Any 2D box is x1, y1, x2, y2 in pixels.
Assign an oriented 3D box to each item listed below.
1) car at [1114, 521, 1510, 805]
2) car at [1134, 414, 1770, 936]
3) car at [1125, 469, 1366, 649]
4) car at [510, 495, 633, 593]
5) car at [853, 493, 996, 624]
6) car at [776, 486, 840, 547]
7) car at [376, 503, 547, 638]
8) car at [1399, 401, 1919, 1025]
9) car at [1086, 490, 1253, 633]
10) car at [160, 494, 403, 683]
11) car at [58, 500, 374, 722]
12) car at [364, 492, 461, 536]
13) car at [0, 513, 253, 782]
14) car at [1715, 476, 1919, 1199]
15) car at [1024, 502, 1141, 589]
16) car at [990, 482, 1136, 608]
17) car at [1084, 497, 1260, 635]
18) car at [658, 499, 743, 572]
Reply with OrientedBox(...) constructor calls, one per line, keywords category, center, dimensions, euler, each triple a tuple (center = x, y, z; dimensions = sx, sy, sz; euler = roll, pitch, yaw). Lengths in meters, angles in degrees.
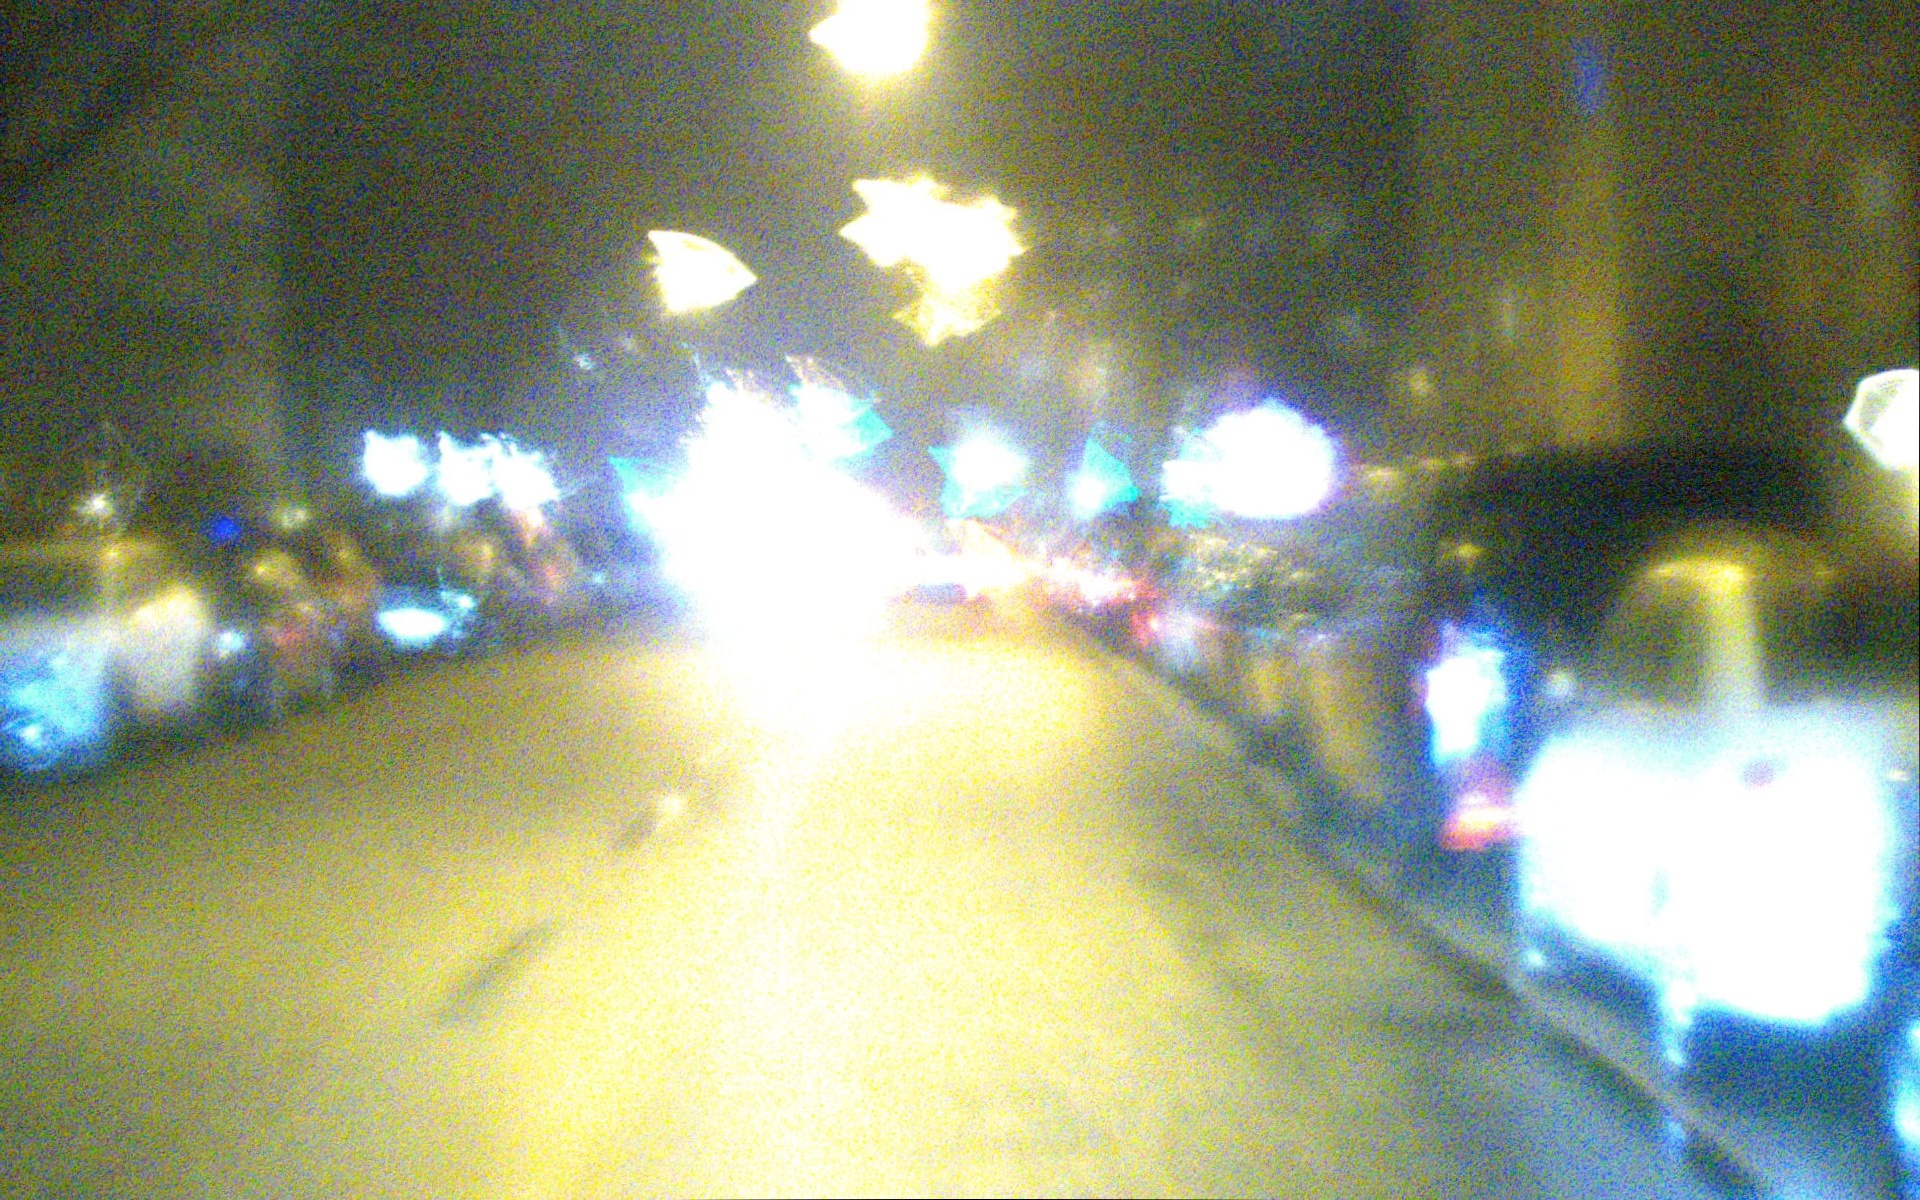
OrientedBox(category="car", center=(2.106, 0.310, 21.716), dimensions=(1.795, 1.486, 4.130), euler=(-3, 2, -3))
OrientedBox(category="car", center=(2.077, 0.195, 16.362), dimensions=(1.795, 1.943, 5.855), euler=(-3, 2, -3))
OrientedBox(category="car", center=(2.595, -0.429, 32.127), dimensions=(1.674, 1.482, 4.280), euler=(-3, 2, -2))
OrientedBox(category="car", center=(-6.372, -0.950, 56.767), dimensions=(1.598, 1.426, 4.005), euler=(-5, 2, -2))
OrientedBox(category="car", center=(-0.569, -0.719, 56.310), dimensions=(2.168, 1.965, 4.302), euler=(-3, 2, 0))
OrientedBox(category="car", center=(-5.520, -3.040, 124.358), dimensions=(2.034, 1.946, 5.201), euler=(-4, 3, -4))
OrientedBox(category="car", center=(-6.079, -0.394, 42.203), dimensions=(1.431, 1.455, 3.374), euler=(-5, 2, 1))
OrientedBox(category="car", center=(2.649, 0.188, 10.662), dimensions=(1.795, 1.542, 3.952), euler=(-3, 2, -3))
OrientedBox(category="car", center=(2.518, -0.520, 42.360), dimensions=(1.754, 1.542, 4.978), euler=(-3, 2, 1))
OrientedBox(category="car", center=(-6.581, -0.169, 33.746), dimensions=(1.746, 1.592, 4.392), euler=(-5, 2, -5))
OrientedBox(category="car", center=(-6.016, 0.020, 28.261), dimensions=(1.665, 1.534, 4.392), euler=(-5, 2, -2))
OrientedBox(category="car", center=(-19.493, -3.082, 122.550), dimensions=(1.715, 1.426, 3.916), euler=(-1, 2, 19))
OrientedBox(category="car", center=(-6.107, 0.280, 22.976), dimensions=(1.666, 1.534, 4.391), euler=(-5, 2, 1))
OrientedBox(category="car", center=(2.680, 0.576, 4.888), dimensions=(1.867, 1.574, 4.749), euler=(-3, 2, -3))
OrientedBox(category="car", center=(2.215, -1.025, 63.118), dimensions=(1.822, 1.417, 4.489), euler=(-3, 2, -1))
OrientedBox(category="car", center=(1.415, -0.799, 47.157), dimensions=(1.824, 1.542, 4.353), euler=(-3, 2, 2))
OrientedBox(category="car", center=(2.210, -0.400, 36.601), dimensions=(1.456, 1.301, 3.629), euler=(-3, 2, -2))
OrientedBox(category="car", center=(-6.239, -1.575, 82.903), dimensions=(1.598, 1.558, 4.380), euler=(-5, 2, 0))
